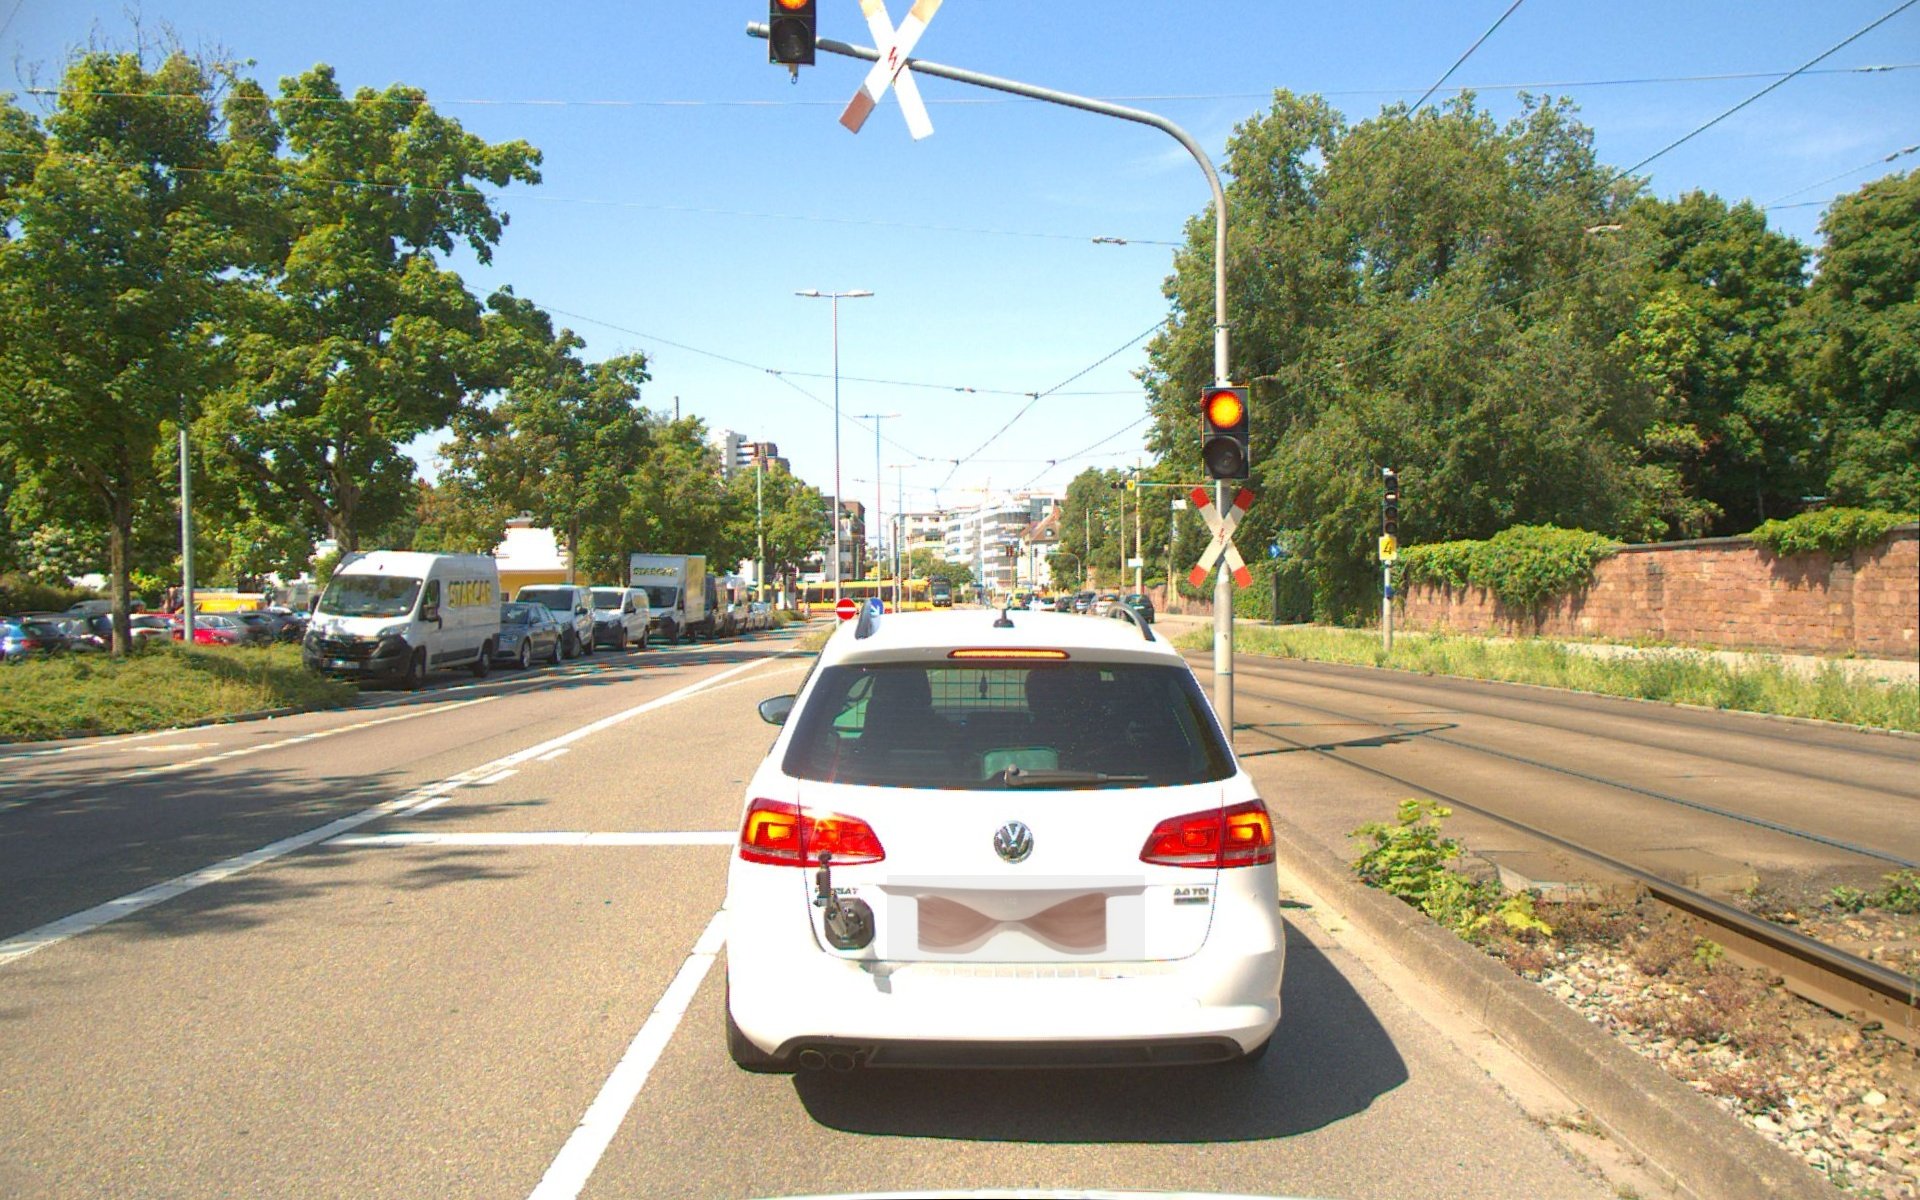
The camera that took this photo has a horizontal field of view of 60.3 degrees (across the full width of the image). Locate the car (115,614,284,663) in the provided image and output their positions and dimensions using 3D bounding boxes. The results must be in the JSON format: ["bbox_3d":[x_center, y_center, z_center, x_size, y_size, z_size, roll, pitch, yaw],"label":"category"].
[{"bbox_3d":[-21.363,1.074,46.533,3.904,1.246,1.772,-1,0,2],"label":"car"}]

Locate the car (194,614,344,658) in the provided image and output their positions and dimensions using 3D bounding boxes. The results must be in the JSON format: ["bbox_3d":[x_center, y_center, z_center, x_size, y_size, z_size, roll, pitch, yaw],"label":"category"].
[{"bbox_3d":[-21.463,1.112,51.462,3.904,1.246,1.772,-1,0,2],"label":"car"}]

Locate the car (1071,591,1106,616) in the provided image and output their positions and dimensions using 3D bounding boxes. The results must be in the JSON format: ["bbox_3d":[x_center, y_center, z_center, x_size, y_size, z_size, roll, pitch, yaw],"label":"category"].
[{"bbox_3d":[8.398,0.201,108.258,1.824,1.539,3.911,1,0,-2],"label":"car"}]

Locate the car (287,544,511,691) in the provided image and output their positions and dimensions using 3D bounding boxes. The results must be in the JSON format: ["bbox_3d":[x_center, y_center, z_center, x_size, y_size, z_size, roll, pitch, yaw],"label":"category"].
[{"bbox_3d":[-10.763,0.290,32.371,2.016,2.544,6.309,2,0,2],"label":"car"}]

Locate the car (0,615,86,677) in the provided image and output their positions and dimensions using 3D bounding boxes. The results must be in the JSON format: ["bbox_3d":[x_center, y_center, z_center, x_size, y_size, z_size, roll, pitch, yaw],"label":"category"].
[{"bbox_3d":[-21.284,1.015,35.653,3.904,1.246,1.772,-1,0,2],"label":"car"}]

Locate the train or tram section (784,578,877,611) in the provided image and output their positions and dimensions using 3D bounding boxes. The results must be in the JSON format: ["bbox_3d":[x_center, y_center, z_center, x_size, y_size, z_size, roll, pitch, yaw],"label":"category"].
[{"bbox_3d":[-13.722,-0.574,174.581,10.585,3.310,2.301,1,-1,34],"label":"train or tram section"}]

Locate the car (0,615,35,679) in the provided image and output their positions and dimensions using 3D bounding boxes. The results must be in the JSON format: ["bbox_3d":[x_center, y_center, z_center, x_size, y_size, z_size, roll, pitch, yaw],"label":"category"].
[{"bbox_3d":[-20.969,0.983,33.081,3.907,1.246,1.770,-1,0,-3],"label":"car"}]

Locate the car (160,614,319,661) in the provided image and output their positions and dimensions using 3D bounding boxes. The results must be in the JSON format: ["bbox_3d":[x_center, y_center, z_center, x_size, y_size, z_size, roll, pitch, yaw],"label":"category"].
[{"bbox_3d":[-21.351,1.103,49.127,3.904,1.246,1.772,-1,0,2],"label":"car"}]

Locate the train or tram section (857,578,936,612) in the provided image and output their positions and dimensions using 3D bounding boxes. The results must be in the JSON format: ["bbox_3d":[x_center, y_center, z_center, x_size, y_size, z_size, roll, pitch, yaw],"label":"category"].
[{"bbox_3d":[-6.497,-0.489,167.557,2.284,3.309,10.664,2,-1,-37],"label":"train or tram section"}]

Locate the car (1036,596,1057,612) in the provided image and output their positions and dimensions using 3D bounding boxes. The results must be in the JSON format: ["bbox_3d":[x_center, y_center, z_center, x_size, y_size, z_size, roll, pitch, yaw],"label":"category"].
[{"bbox_3d":[7.337,0.358,140.752,1.549,1.370,3.453,1,-1,-1],"label":"car"}]

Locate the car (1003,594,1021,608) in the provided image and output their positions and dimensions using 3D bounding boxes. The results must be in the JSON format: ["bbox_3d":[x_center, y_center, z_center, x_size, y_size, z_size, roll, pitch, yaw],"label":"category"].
[{"bbox_3d":[6.343,0.172,201.267,1.953,1.624,3.999,1,-1,0],"label":"car"}]

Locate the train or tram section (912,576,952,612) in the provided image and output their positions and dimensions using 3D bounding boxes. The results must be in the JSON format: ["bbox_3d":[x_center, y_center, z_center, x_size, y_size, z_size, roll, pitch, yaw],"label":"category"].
[{"bbox_3d":[-2.734,-0.492,158.420,2.258,3.309,11.251,1,-1,-9],"label":"train or tram section"}]

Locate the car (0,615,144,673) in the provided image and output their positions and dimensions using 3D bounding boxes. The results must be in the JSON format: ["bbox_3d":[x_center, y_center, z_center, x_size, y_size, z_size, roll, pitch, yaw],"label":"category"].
[{"bbox_3d":[-21.589,1.038,38.869,3.904,1.246,1.772,-1,0,2],"label":"car"}]

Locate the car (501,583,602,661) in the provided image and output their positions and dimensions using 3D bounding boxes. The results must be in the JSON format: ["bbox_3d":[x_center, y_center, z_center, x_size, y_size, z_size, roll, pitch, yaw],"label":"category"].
[{"bbox_3d":[-11.080,0.546,45.212,1.807,1.971,5.189,-1,0,-5],"label":"car"}]

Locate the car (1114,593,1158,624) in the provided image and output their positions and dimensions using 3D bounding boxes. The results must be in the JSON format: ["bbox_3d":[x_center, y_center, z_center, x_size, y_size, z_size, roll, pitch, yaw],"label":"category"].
[{"bbox_3d":[8.537,0.391,80.338,1.710,1.412,3.913,1,0,0],"label":"car"}]

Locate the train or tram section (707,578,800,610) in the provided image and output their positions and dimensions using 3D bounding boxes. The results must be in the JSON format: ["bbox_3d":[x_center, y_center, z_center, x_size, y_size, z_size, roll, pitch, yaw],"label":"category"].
[{"bbox_3d":[-22.512,-0.704,180.017,10.567,3.310,2.305,1,-1,29],"label":"train or tram section"}]

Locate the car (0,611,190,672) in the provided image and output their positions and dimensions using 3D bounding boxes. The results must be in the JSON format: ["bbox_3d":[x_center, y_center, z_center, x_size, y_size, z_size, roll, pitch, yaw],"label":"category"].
[{"bbox_3d":[-21.699,1.024,41.514,3.904,1.373,1.772,-1,0,2],"label":"car"}]

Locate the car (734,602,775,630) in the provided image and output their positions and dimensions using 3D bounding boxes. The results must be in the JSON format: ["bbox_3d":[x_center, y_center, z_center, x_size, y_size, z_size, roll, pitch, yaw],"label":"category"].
[{"bbox_3d":[-11.384,0.868,91.859,1.806,1.458,4.037,-1,0,-1],"label":"car"}]

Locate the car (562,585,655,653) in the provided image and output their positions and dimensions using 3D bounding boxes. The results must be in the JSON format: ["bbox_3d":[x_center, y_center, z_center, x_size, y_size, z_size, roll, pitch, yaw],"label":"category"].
[{"bbox_3d":[-10.925,0.545,51.799,1.806,1.995,5.133,-1,0,0],"label":"car"}]

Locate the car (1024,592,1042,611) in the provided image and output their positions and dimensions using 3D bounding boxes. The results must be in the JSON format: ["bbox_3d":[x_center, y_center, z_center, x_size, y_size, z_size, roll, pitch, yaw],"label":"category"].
[{"bbox_3d":[7.363,0.178,166.920,1.657,1.844,3.453,1,-1,-1],"label":"car"}]

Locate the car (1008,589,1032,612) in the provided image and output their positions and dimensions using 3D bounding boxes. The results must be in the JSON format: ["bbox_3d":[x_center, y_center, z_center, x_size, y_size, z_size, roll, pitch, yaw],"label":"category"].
[{"bbox_3d":[6.791,0.041,187.474,2.413,2.542,5.908,1,-1,-1],"label":"car"}]

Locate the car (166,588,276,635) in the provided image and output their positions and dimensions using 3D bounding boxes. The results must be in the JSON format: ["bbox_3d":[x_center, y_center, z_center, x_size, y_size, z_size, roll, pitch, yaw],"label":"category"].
[{"bbox_3d":[-34.134,0.545,76.491,4.175,2.049,1.997,1,-1,-7],"label":"car"}]

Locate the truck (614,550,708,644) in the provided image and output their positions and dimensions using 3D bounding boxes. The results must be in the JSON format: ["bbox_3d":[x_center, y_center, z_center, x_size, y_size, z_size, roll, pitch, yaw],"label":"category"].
[{"bbox_3d":[-10.783,-0.114,60.183,2.309,3.177,6.889,-1,0,-2],"label":"truck"}]

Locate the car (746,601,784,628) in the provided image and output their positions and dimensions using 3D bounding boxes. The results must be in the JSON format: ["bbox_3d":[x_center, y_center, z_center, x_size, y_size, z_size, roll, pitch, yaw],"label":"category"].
[{"bbox_3d":[-11.338,0.834,96.410,1.744,1.458,4.037,-1,0,-1],"label":"car"}]

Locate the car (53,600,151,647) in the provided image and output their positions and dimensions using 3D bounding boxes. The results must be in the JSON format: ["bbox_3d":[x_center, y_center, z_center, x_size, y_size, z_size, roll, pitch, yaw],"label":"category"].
[{"bbox_3d":[-36.977,0.992,71.351,3.354,1.909,1.552,-1,0,-3],"label":"car"}]

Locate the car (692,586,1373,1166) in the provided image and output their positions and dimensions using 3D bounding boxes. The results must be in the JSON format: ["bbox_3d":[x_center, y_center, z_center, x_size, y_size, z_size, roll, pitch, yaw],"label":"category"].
[{"bbox_3d":[0.137,0.707,6.213,1.732,1.471,3.912,1,0,-2],"label":"car"}]

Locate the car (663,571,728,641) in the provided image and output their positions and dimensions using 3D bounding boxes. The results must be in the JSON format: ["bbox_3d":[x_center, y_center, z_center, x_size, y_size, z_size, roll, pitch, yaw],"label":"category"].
[{"bbox_3d":[-10.813,0.212,67.942,1.806,2.715,5.003,-1,0,0],"label":"car"}]

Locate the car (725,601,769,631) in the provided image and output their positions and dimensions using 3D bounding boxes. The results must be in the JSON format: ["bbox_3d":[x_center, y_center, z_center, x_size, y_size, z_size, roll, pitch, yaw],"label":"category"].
[{"bbox_3d":[-10.949,0.815,85.274,1.806,1.458,4.037,-1,0,-1],"label":"car"}]

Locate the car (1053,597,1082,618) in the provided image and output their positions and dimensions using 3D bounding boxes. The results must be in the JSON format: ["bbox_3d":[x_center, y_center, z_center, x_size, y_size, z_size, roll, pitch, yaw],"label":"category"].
[{"bbox_3d":[7.856,0.537,121.617,1.711,1.432,3.911,1,0,-2],"label":"car"}]

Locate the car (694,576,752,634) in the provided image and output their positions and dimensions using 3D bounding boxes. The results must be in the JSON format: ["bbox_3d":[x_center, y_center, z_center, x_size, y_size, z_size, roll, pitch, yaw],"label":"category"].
[{"bbox_3d":[-10.786,0.207,75.717,1.806,2.538,5.856,-1,0,0],"label":"car"}]

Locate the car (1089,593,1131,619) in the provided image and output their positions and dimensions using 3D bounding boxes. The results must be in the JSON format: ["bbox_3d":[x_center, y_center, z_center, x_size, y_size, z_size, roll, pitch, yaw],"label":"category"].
[{"bbox_3d":[8.506,0.326,94.128,1.824,1.441,4.323,1,0,-2],"label":"car"}]

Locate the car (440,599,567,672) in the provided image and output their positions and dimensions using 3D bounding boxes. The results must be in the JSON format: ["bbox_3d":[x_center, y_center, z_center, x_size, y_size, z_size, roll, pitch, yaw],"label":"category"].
[{"bbox_3d":[-10.554,0.772,38.525,1.806,1.543,4.196,-1,0,-1],"label":"car"}]

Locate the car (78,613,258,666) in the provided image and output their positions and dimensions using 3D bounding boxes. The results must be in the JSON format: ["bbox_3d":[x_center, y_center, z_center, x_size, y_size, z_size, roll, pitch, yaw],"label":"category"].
[{"bbox_3d":[-21.038,1.037,44.017,3.904,1.286,1.772,-1,0,2],"label":"car"}]
